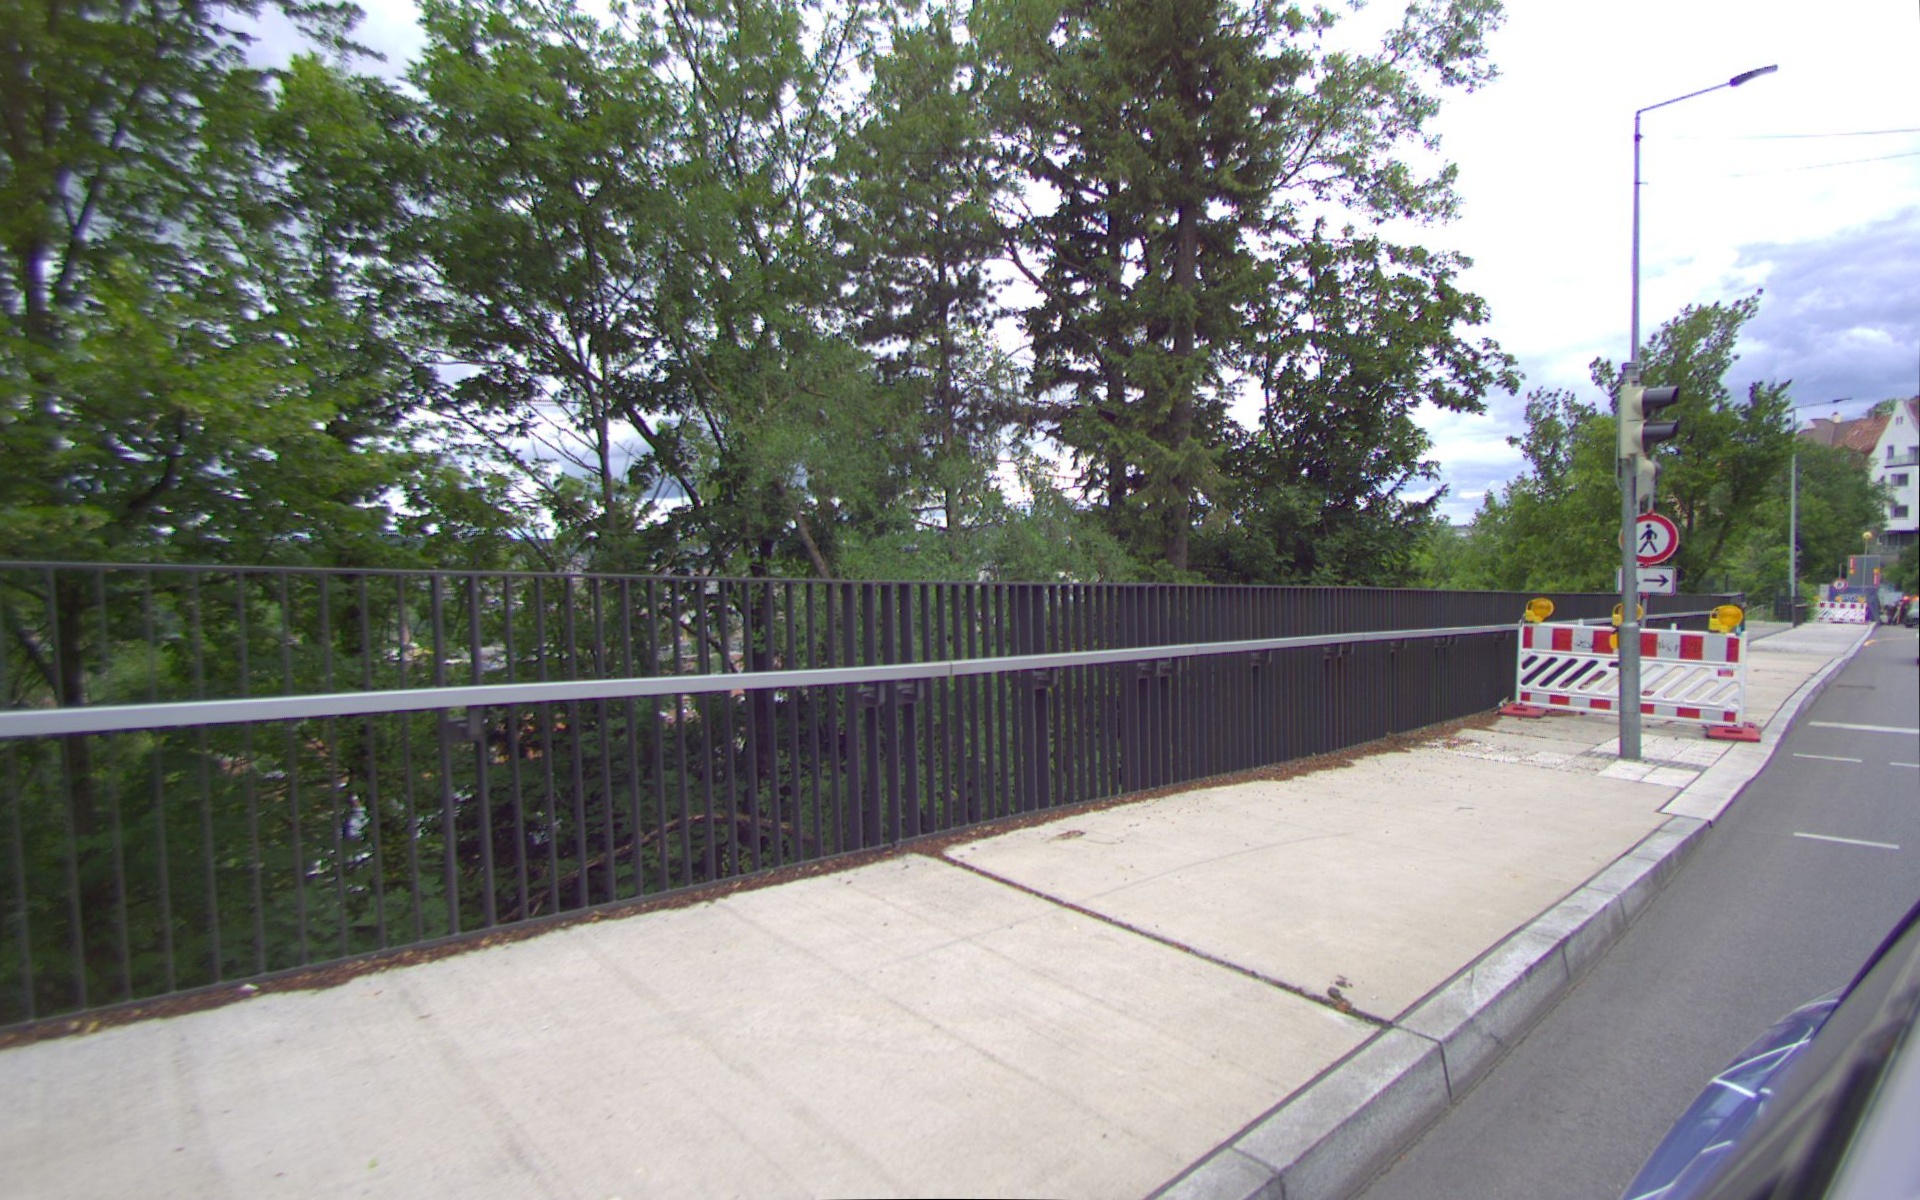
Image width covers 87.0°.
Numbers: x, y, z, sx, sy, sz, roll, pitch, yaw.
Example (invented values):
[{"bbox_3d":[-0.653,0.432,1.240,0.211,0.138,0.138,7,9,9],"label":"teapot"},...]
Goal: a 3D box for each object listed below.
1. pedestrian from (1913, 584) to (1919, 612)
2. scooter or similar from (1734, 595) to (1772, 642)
[{"bbox_3d":[66.449,-0.126,69.894,0.608,1.909,0.718,2,-2,4],"label":"pedestrian"},{"bbox_3d":[21.388,0.497,27.300,1.184,1.242,0.536,1,1,-40],"label":"scooter or similar"}]
